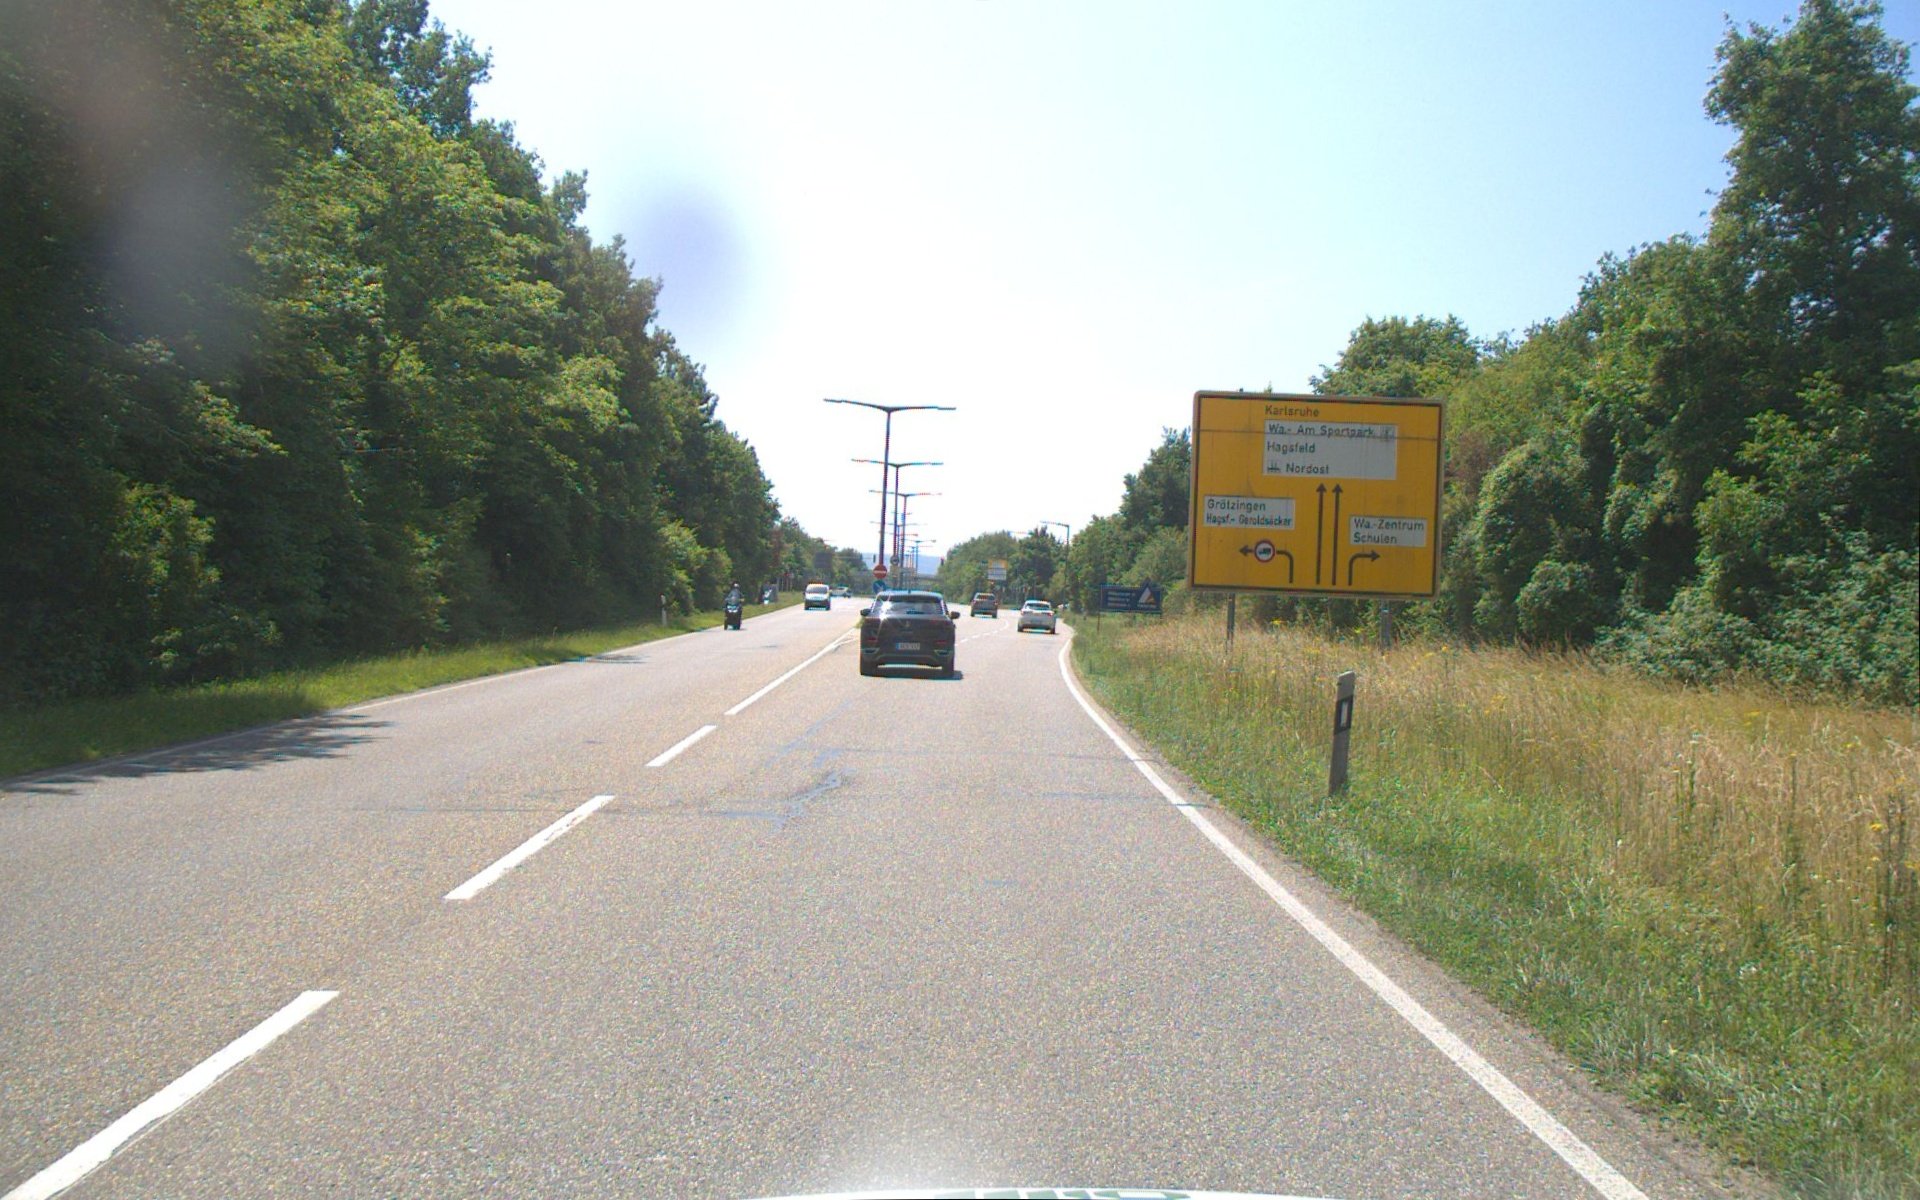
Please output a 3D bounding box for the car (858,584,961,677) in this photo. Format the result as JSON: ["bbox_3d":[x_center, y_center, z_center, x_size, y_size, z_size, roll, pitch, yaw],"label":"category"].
[{"bbox_3d":[-1.020,0.545,31.426,1.721,1.583,3.996,2,0,-5],"label":"car"}]

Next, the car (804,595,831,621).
[{"bbox_3d":[-9.673,0.500,112.583,1.697,1.717,4.093,0,0,-3],"label":"car"}]

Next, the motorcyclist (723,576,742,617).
[{"bbox_3d":[-8.457,-0.142,61.501,0.657,1.501,0.813,1,0,-5],"label":"motorcyclist"}]

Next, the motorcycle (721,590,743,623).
[{"bbox_3d":[-8.483,0.243,61.669,0.657,1.195,2.229,1,0,-4],"label":"motorcycle"}]

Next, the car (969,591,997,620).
[{"bbox_3d":[1.669,0.404,120.488,1.720,1.962,3.998,3,0,-2],"label":"car"}]

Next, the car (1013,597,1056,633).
[{"bbox_3d":[3.448,0.689,77.050,1.760,1.611,4.000,1,0,0],"label":"car"}]
